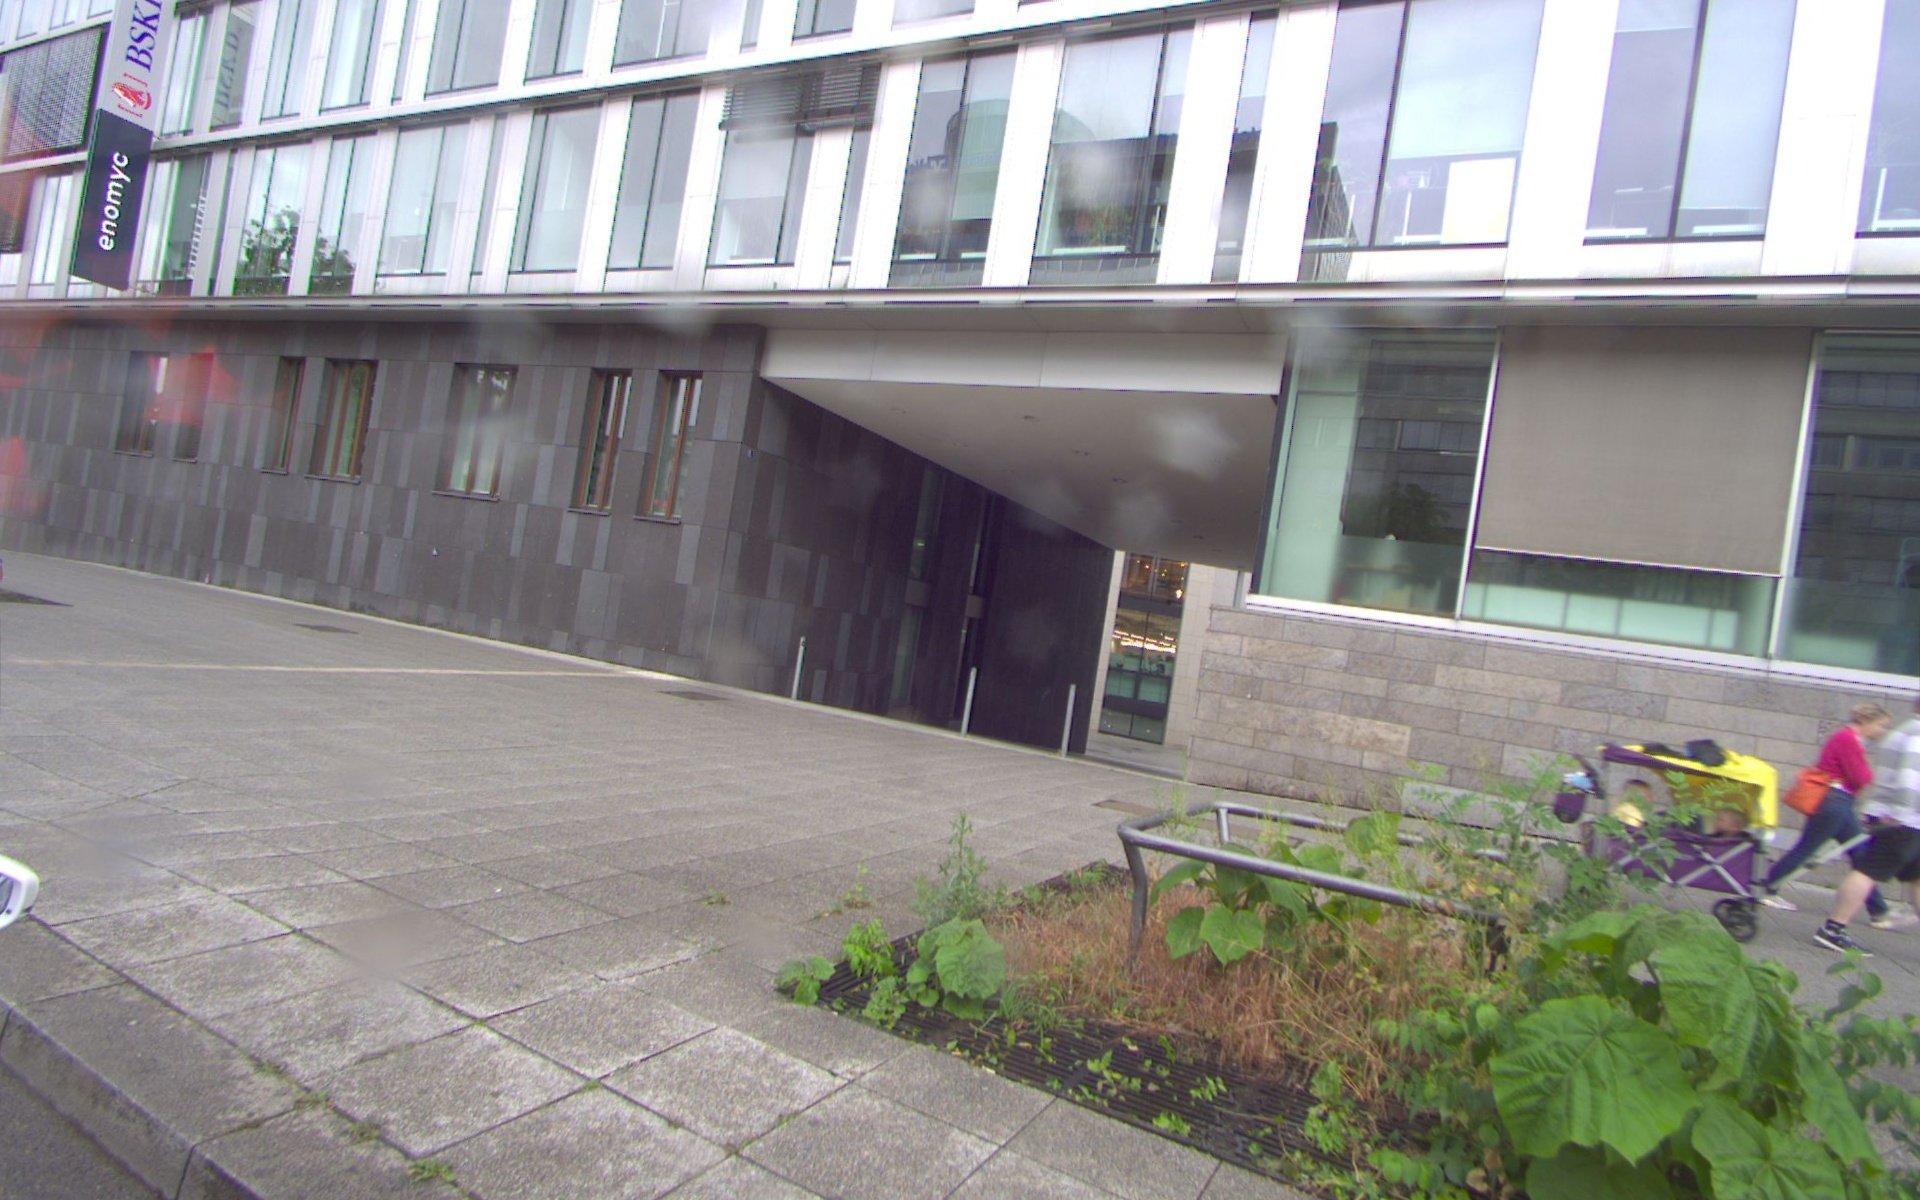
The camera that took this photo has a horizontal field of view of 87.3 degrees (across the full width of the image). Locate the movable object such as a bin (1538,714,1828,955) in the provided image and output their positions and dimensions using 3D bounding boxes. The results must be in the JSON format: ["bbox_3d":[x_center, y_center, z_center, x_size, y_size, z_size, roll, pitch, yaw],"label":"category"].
[{"bbox_3d":[4.983,1.566,7.066,1.419,1.279,0.733,9,0,29],"label":"movable object such as a bin"}]

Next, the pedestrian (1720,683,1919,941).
[{"bbox_3d":[6.755,1.577,7.794,1.080,1.712,0.719,7,1,27],"label":"pedestrian"}]

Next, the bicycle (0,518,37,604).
[{"bbox_3d":[-13.065,-0.635,12.251,0.665,1.069,2.543,7,-2,27],"label":"bicycle"}]

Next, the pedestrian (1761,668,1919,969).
[{"bbox_3d":[6.236,1.425,6.714,1.028,1.814,0.901,7,1,26],"label":"pedestrian"}]
